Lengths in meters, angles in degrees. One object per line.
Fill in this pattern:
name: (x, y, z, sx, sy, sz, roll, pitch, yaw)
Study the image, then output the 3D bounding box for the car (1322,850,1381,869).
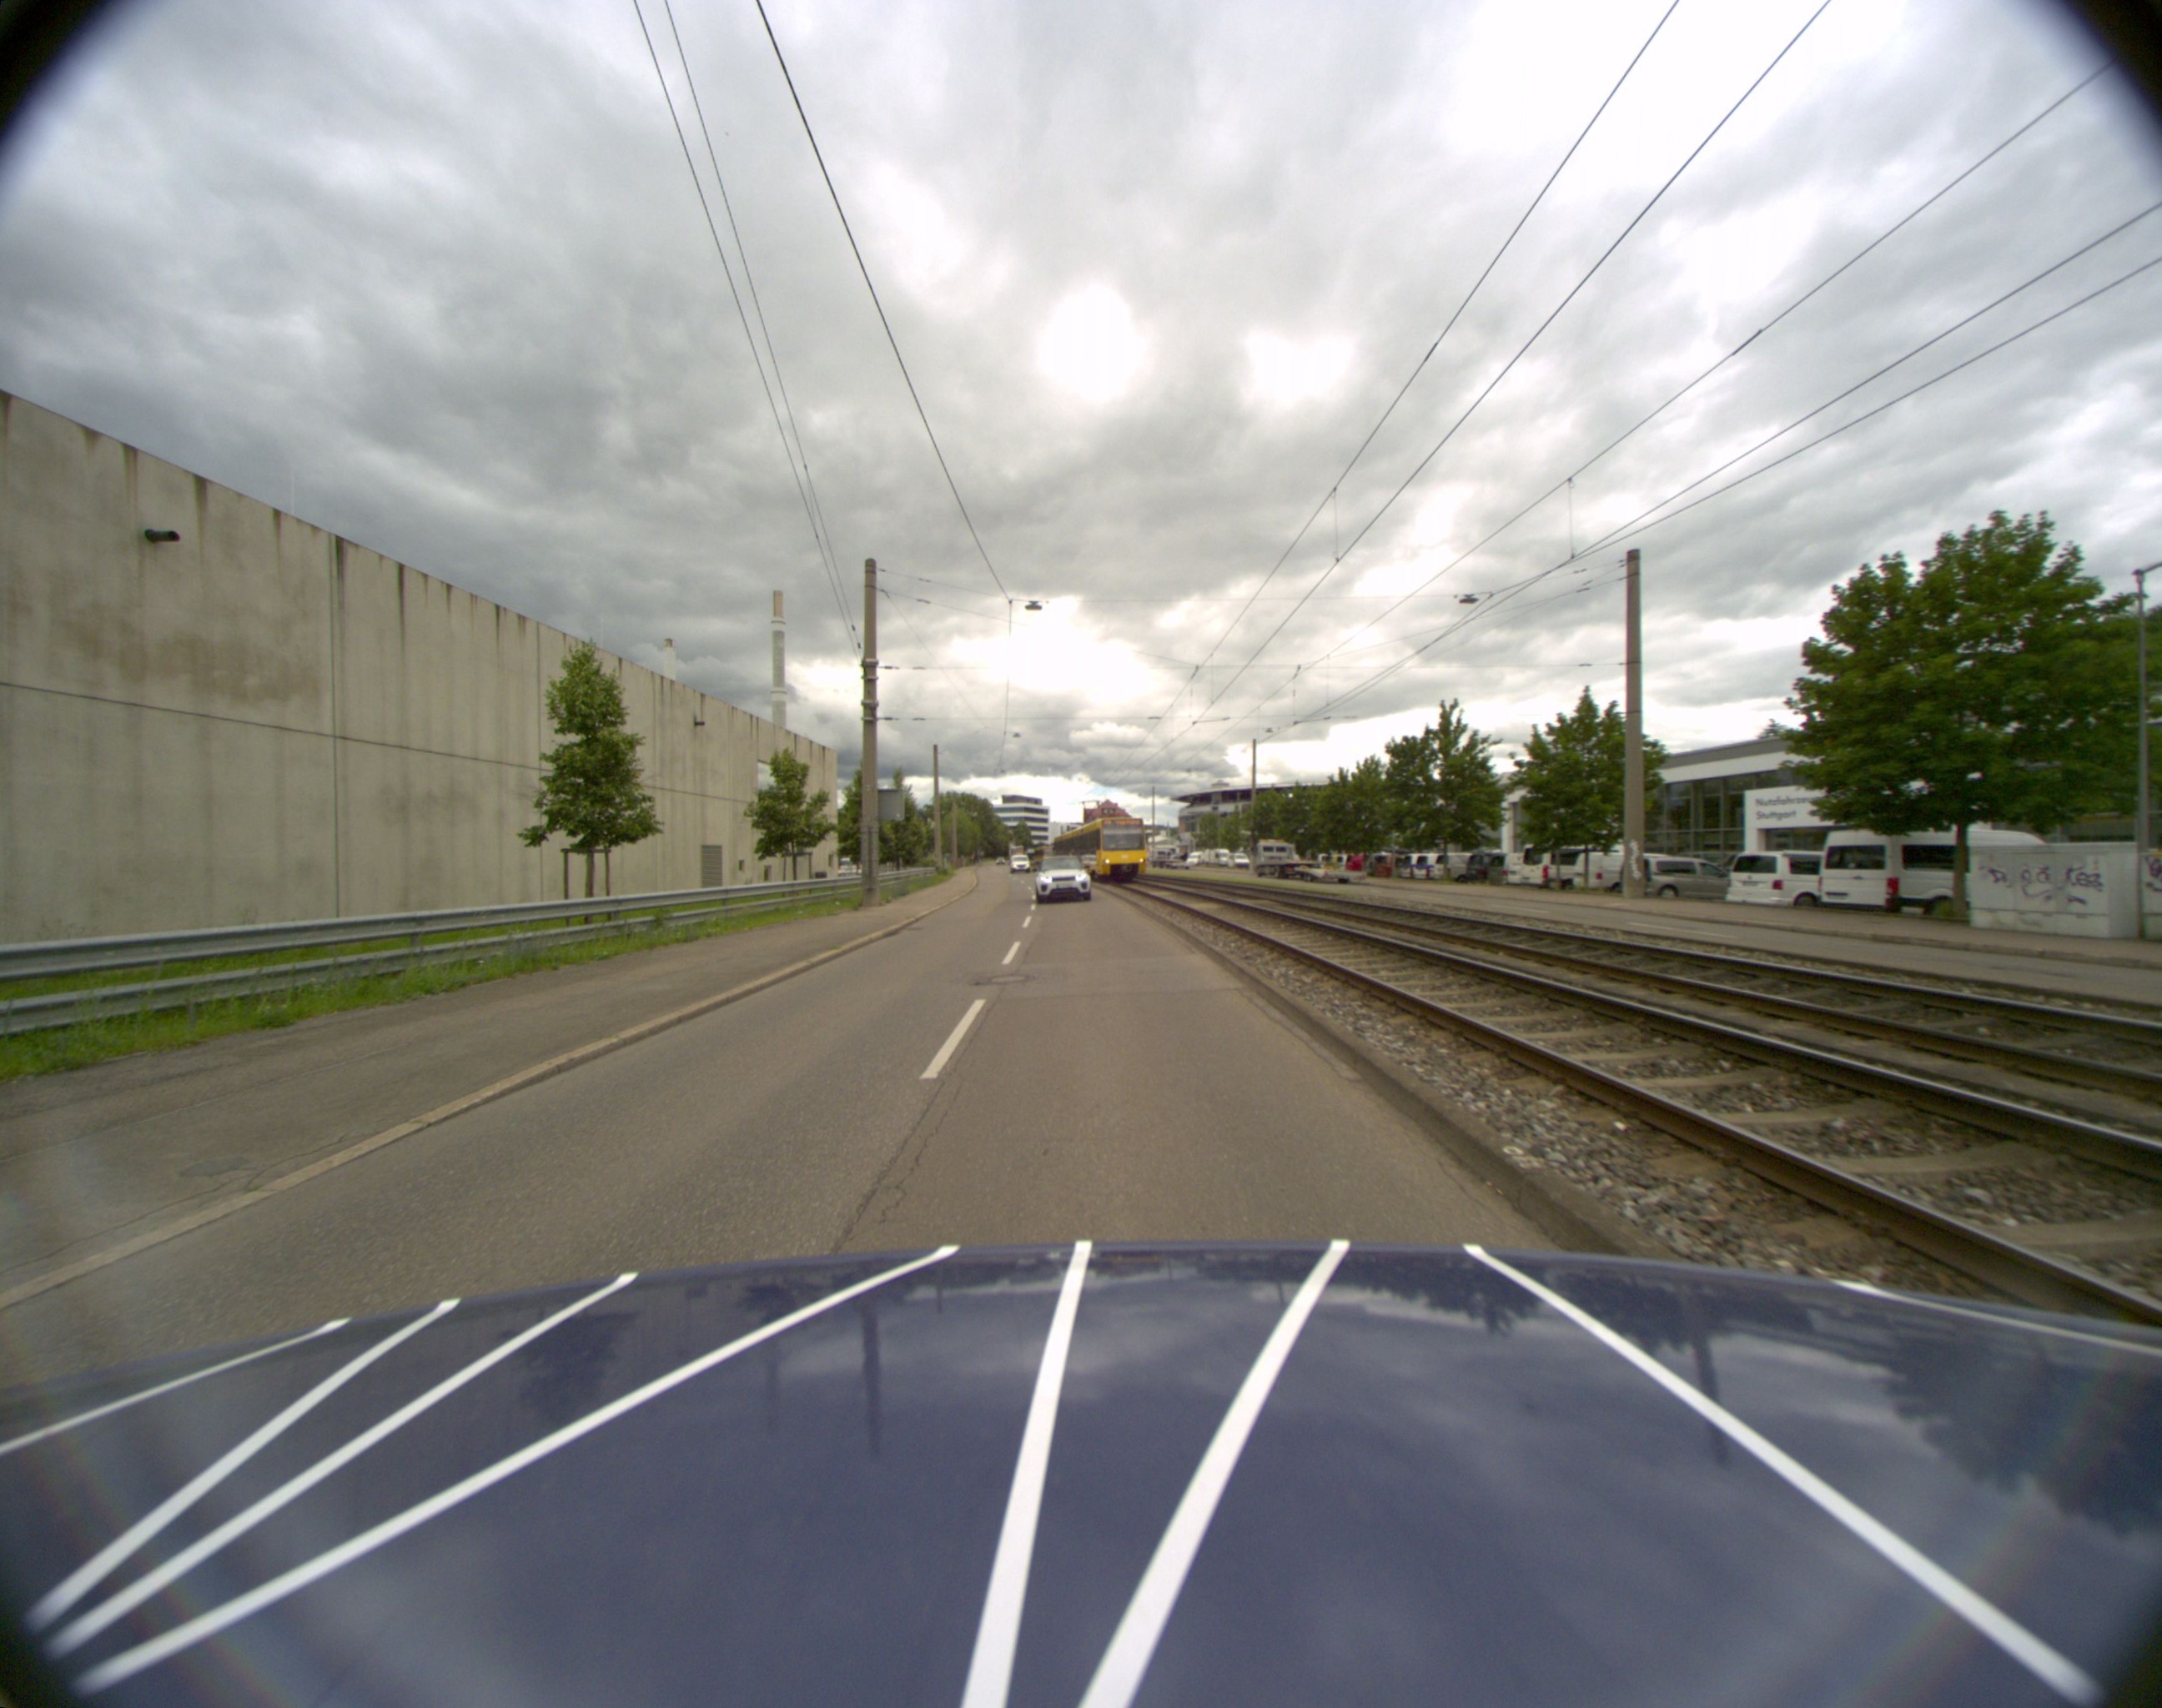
car: (23.395, 0.446, 65.845, 4.346, 1.608, 2.154, -1, 0, 3)

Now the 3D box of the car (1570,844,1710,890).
car: (23.420, 0.514, 31.983, 4.375, 1.834, 2.004, -1, 0, 3)

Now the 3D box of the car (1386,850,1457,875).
car: (23.346, 0.561, 52.204, 3.996, 1.608, 2.000, -1, 0, 3)

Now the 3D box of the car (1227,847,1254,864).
car: (20.178, 0.176, 96.491, 1.999, 2.002, 4.805, -1, 0, -5)

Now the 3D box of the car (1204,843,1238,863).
car: (18.901, -0.137, 102.930, 2.001, 2.546, 5.854, -1, 0, -16)

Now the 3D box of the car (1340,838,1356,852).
car: (38.724, -1.251, 110.009, 1.995, 2.002, 4.006, 0, 1, 22)

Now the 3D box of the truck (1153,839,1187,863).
truck: (11.616, -0.382, 100.393, 2.872, 2.964, 8.451, 1, 0, -4)

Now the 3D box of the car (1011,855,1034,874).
car: (-5.890, 1.037, 76.484, 2.000, 1.881, 4.623, -1, 0, -8)

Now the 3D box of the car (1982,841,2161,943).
car: (23.849, 0.794, 17.308, 4.377, 2.160, 2.003, -1, 0, -2)

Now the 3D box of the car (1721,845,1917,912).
car: (23.356, 0.749, 24.179, 4.377, 1.999, 2.003, -1, 0, -2)

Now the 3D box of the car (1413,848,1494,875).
car: (22.900, 0.444, 46.836, 3.996, 1.608, 2.000, -1, 0, 3)

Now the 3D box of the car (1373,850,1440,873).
car: (23.204, 0.533, 54.296, 3.996, 1.608, 2.000, -1, 0, 3)

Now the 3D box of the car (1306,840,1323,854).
car: (34.853, -1.053, 113.345, 1.995, 2.002, 4.006, 0, 1, 22)

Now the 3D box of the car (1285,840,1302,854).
car: (31.637, -1.000, 113.119, 1.995, 2.002, 4.006, 0, 0, 22)

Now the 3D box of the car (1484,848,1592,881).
car: (23.697, 0.535, 39.527, 4.375, 1.608, 2.004, -1, 0, 3)

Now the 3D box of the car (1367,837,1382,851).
car: (42.439, -1.494, 109.986, 1.995, 2.002, 4.006, 0, 1, 22)

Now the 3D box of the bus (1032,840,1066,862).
bus: (-6.267, -0.694, 147.489, 3.564, 3.931, 10.474, -2, 2, -19)

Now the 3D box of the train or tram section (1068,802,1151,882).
train or tram section: (1.323, -0.731, 47.494, 3.398, 3.984, 16.935, -2, 1, -4)

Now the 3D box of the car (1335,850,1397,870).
car: (23.533, 0.497, 62.862, 4.355, 1.608, 2.120, -1, 0, 3)

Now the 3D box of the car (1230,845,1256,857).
car: (26.878, -0.530, 126.009, 4.008, 2.002, 1.994, -1, 0, -38)

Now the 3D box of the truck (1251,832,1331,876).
truck: (14.193, 0.001, 52.248, 2.763, 2.725, 9.217, 1, 0, -1)

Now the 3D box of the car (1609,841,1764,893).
car: (23.489, 0.482, 29.599, 4.375, 1.936, 2.004, -1, 0, 3)

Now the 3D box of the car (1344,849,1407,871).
car: (23.052, 0.470, 59.678, 4.187, 1.608, 2.063, -1, 0, 3)

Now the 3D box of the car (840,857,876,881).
car: (-16.432, 1.082, 56.096, 1.755, 1.564, 4.427, -2, 0, -6)

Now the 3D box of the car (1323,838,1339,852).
car: (37.254, -1.328, 113.344, 1.995, 2.002, 4.006, 0, 1, 22)

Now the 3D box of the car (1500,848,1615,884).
car: (23.305, 0.565, 37.270, 4.377, 1.679, 2.031, -1, 0, -2)

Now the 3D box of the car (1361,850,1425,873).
car: (23.301, 0.524, 56.835, 3.996, 1.655, 2.048, -1, 0, 3)

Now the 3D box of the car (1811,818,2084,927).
car: (22.854, 0.462, 20.188, 4.979, 2.683, 2.114, -1, 1, -2)

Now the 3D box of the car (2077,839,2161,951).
car: (23.035, 0.764, 14.953, 4.377, 2.160, 2.003, -1, 0, -2)

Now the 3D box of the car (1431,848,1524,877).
car: (23.107, 0.505, 44.356, 4.376, 1.608, 2.004, -1, 0, 2)

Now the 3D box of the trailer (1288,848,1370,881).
trailer: (14.240, 0.555, 44.221, 2.388, 1.688, 6.947, 1, 0, -1)

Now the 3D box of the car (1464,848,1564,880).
car: (23.881, 0.519, 42.023, 4.375, 1.676, 2.004, -1, 0, 3)

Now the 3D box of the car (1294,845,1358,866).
car: (22.999, 0.131, 71.320, 5.702, 1.996, 2.147, 0, 1, 19)

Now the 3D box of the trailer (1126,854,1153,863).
trailer: (9.179, 0.684, 119.940, 3.058, 1.270, 7.002, 2, 0, -6)

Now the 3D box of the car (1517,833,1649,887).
car: (22.568, 0.266, 34.294, 4.507, 2.298, 2.125, -1, 0, 3)

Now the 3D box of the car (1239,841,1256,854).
car: (25.402, -1.021, 115.740, 1.995, 2.002, 4.006, 0, 0, 22)

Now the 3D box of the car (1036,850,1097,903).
car: (-0.597, 0.764, 27.748, 1.999, 1.718, 3.999, -2, 0, -3)

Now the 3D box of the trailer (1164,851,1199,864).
trailer: (12.164, 0.443, 92.569, 2.766, 1.486, 7.222, 2, 0, -4)

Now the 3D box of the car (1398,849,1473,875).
car: (23.208, 0.519, 49.798, 3.996, 1.608, 2.000, -1, 0, 3)
